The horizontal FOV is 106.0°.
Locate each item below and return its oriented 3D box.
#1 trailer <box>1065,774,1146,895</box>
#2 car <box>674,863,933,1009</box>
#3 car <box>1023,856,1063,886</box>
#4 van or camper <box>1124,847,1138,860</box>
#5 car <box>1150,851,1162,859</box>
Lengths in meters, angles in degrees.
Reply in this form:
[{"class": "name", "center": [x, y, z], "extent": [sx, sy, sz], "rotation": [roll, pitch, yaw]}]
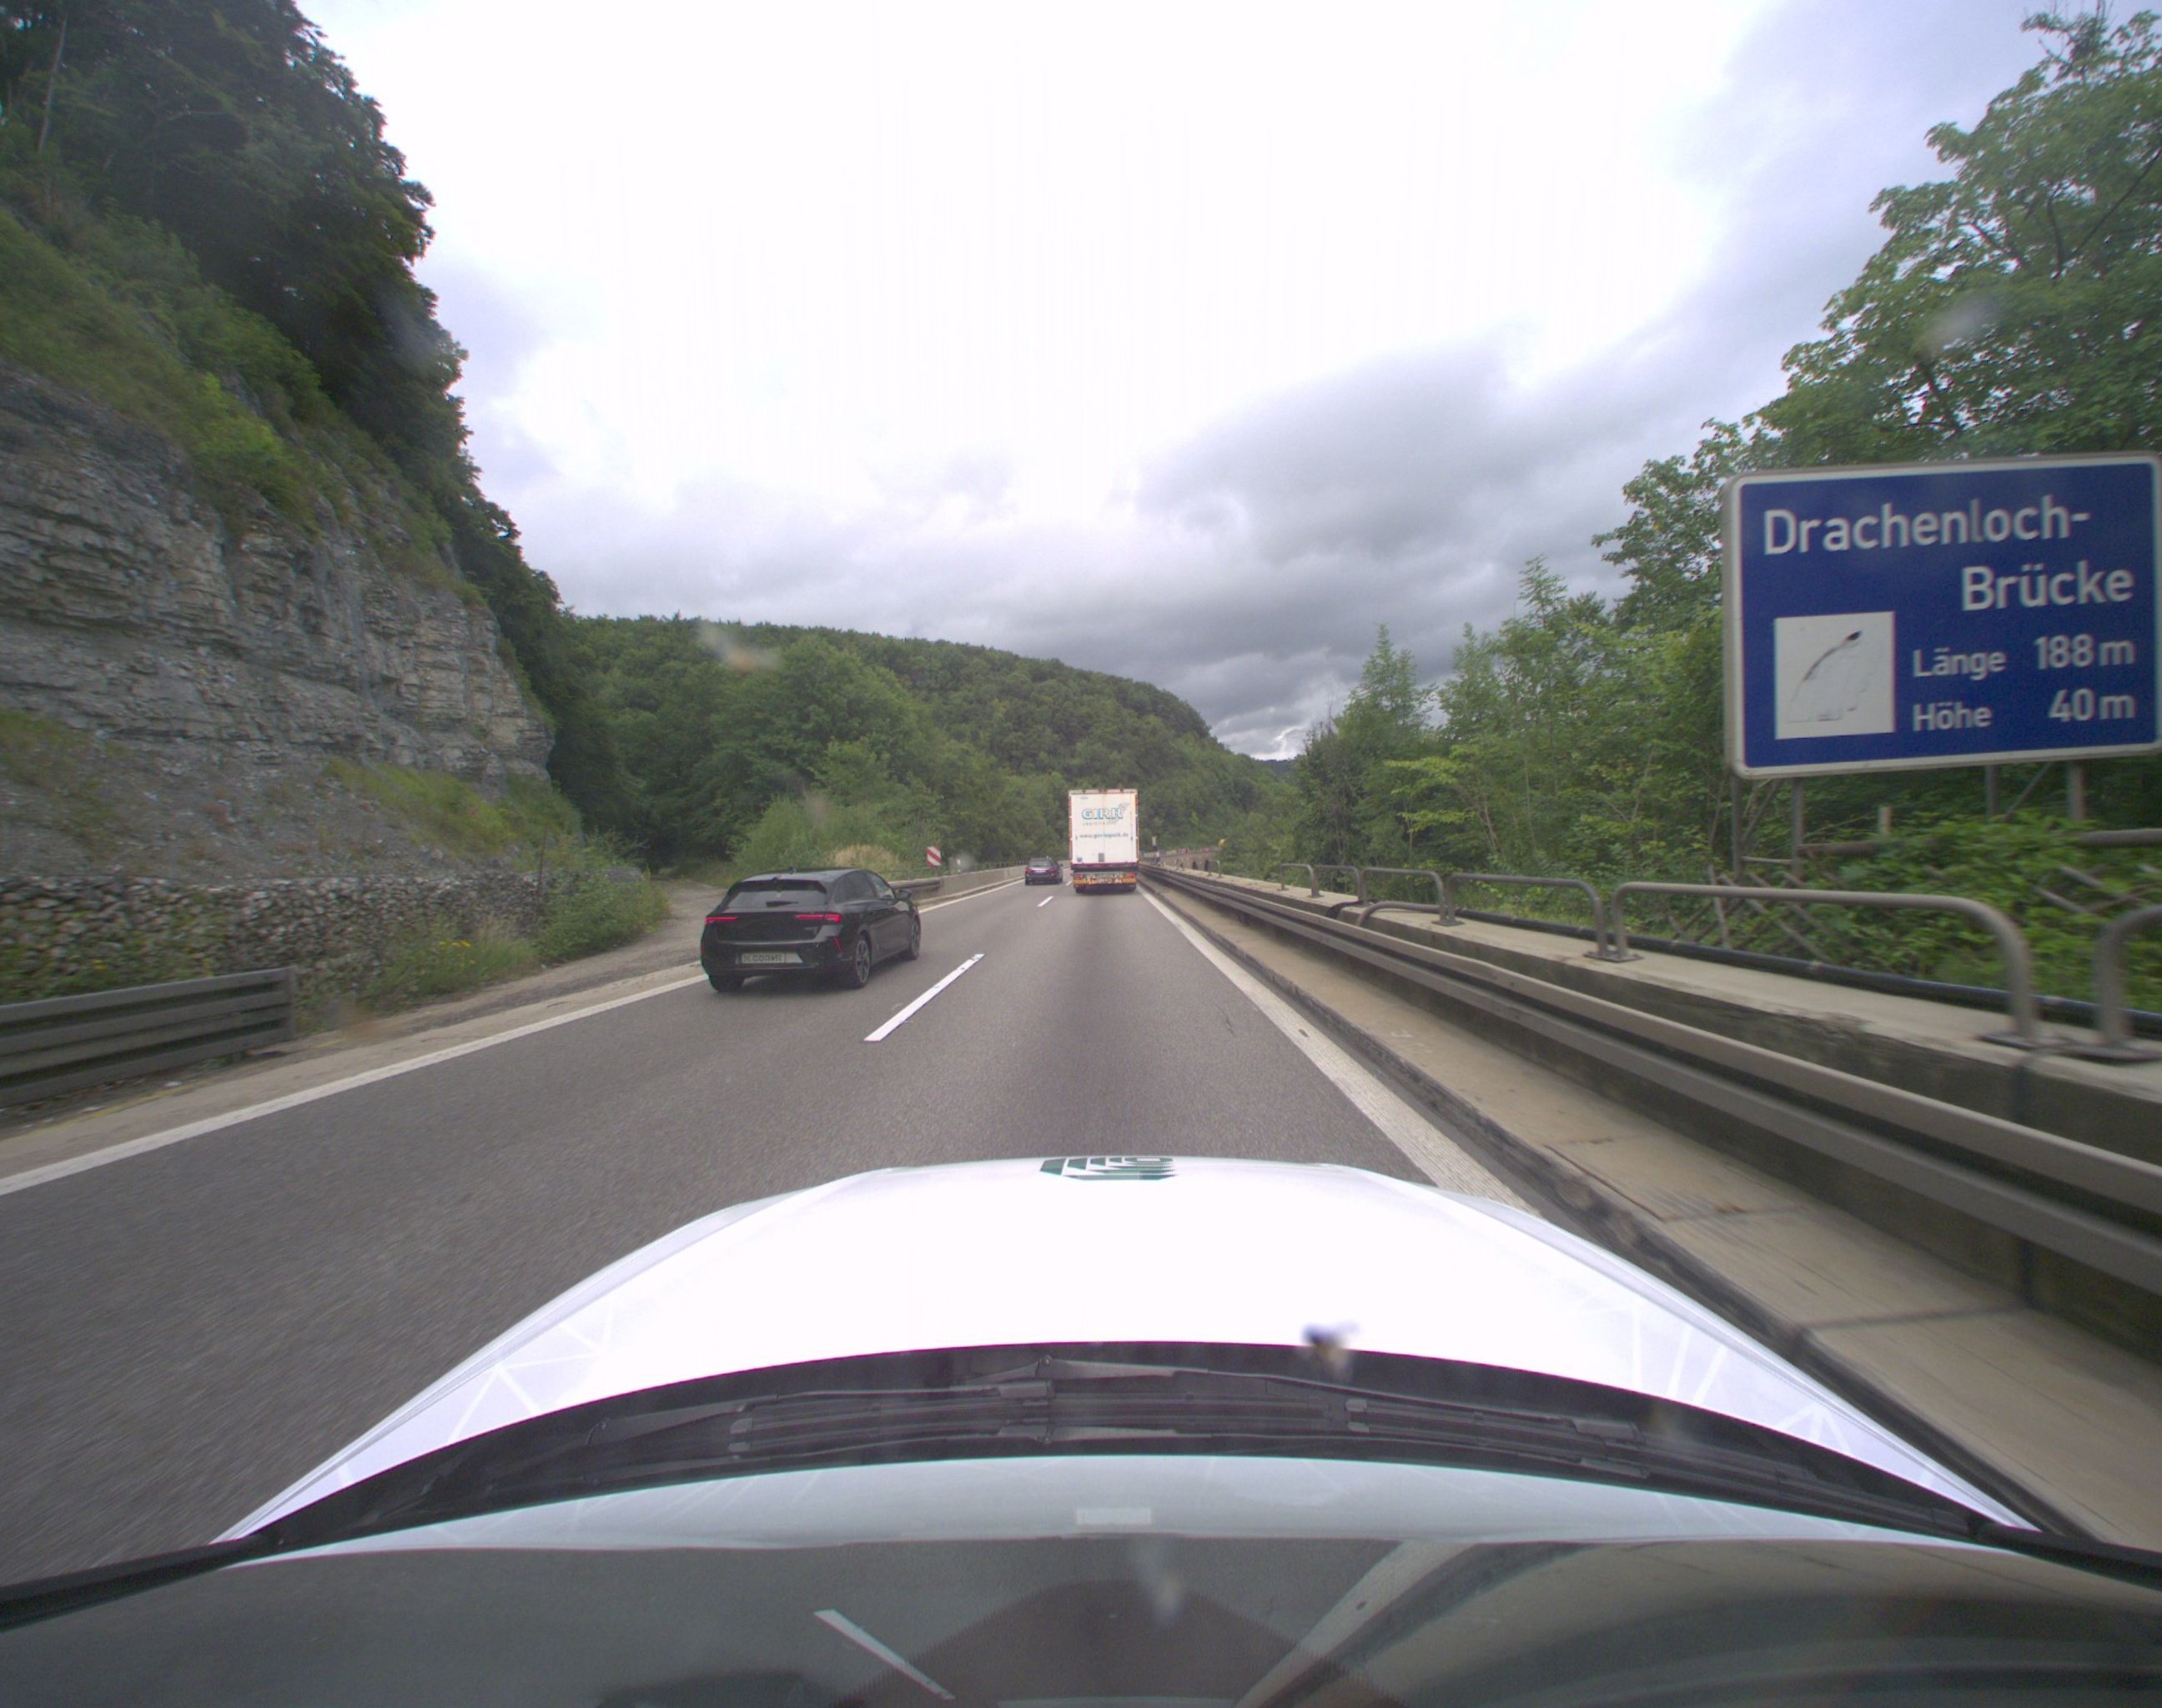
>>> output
[{"class": "trailer", "center": [1.088, -0.661, 36.070], "extent": [2.803, 4.302, 12.248], "rotation": [-3, -1, 2]}, {"class": "car", "center": [-3.393, 0.906, 11.019], "extent": [1.767, 1.461, 4.583], "rotation": [-2, 0, 2]}, {"class": "car", "center": [-2.061, 0.900, 45.415], "extent": [1.877, 1.510, 4.419], "rotation": [-3, -1, 1]}, {"class": "van or camper", "center": [9.893, -0.119, 161.116], "extent": [1.980, 2.559, 4.014], "rotation": [-2, -1, 13]}, {"class": "car", "center": [16.077, 0.164, 173.916], "extent": [1.980, 1.684, 4.013], "rotation": [-2, -1, 12]}]
